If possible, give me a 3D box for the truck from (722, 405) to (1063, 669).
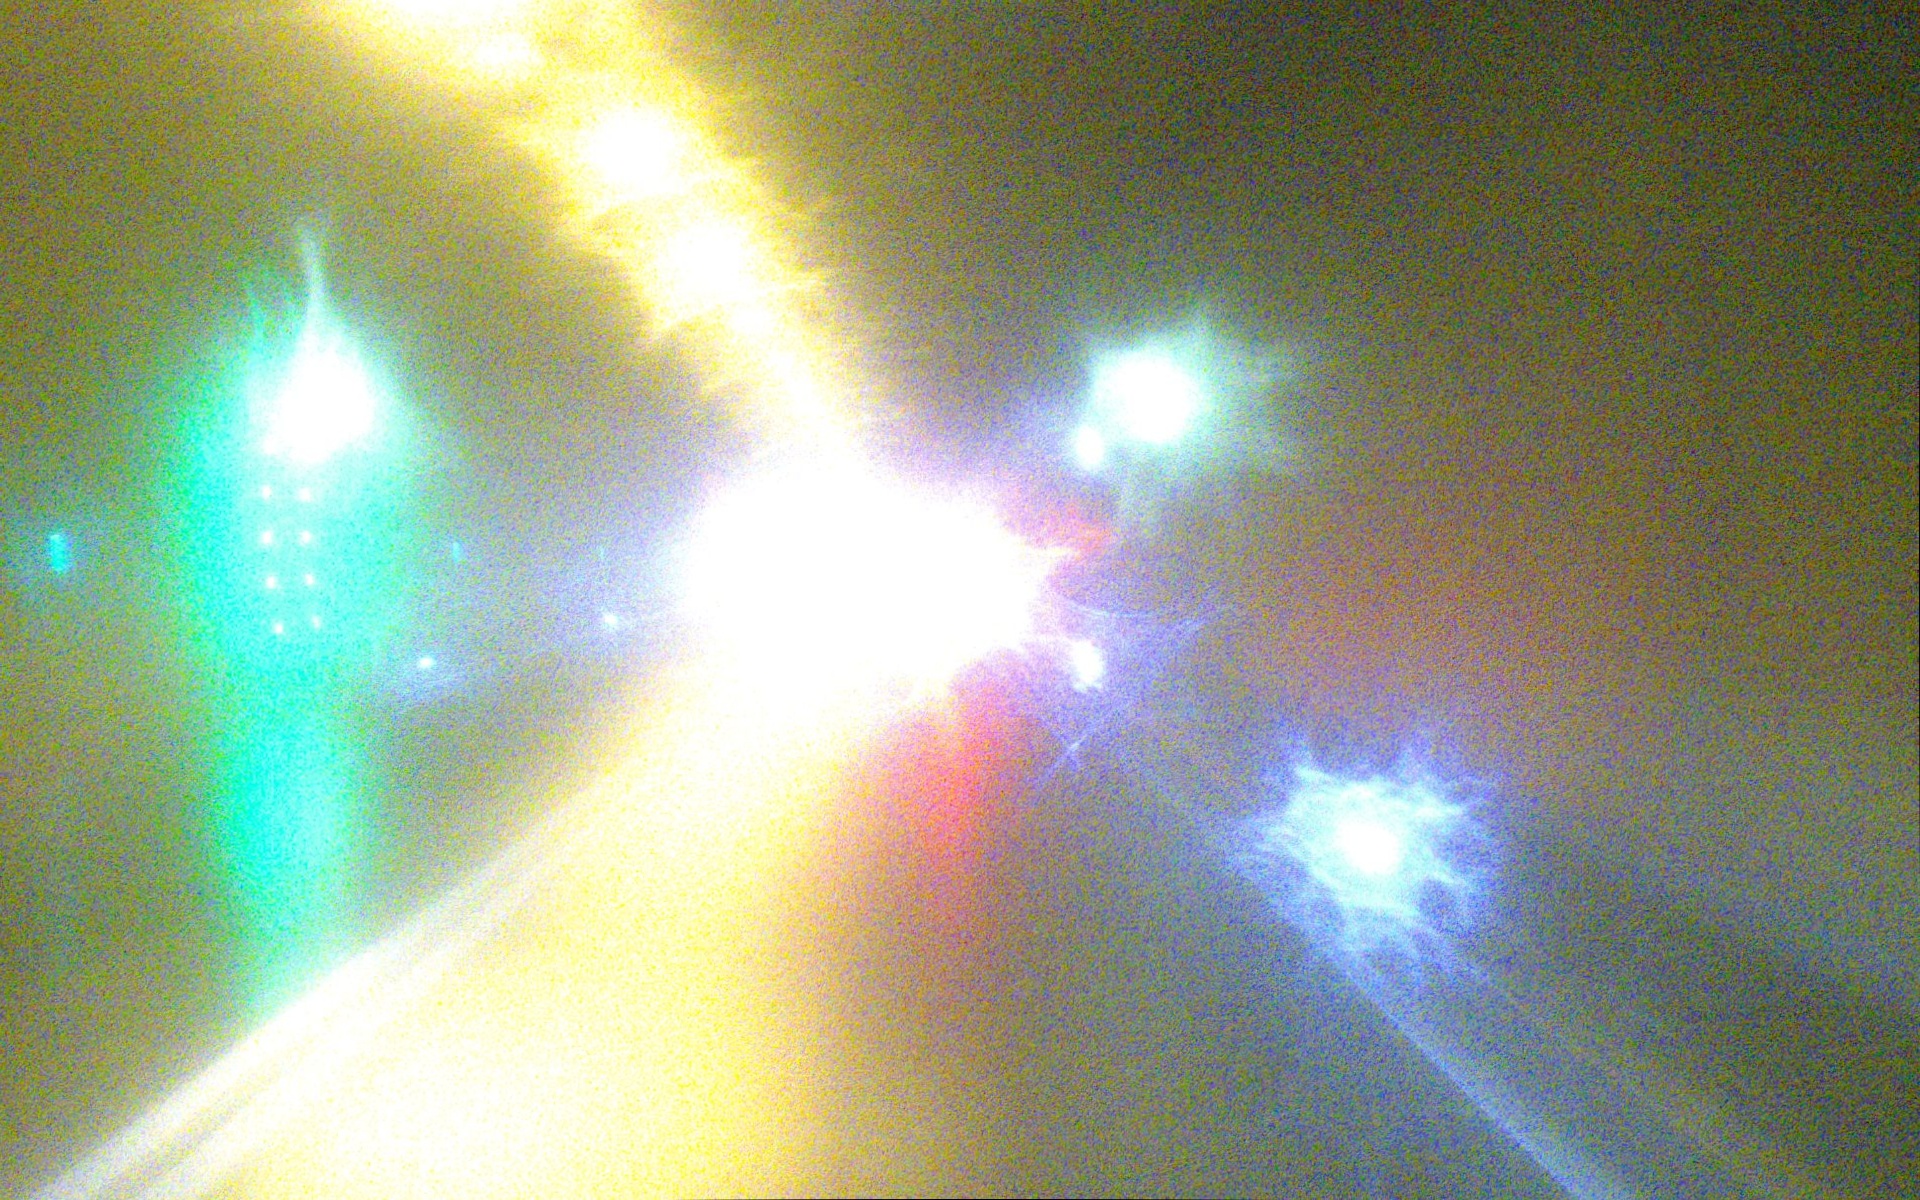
[{"bbox_3d":[-0.757,-0.751,41.014,3.535,2.684,8.956,-2,1,0],"label":"truck"}]
